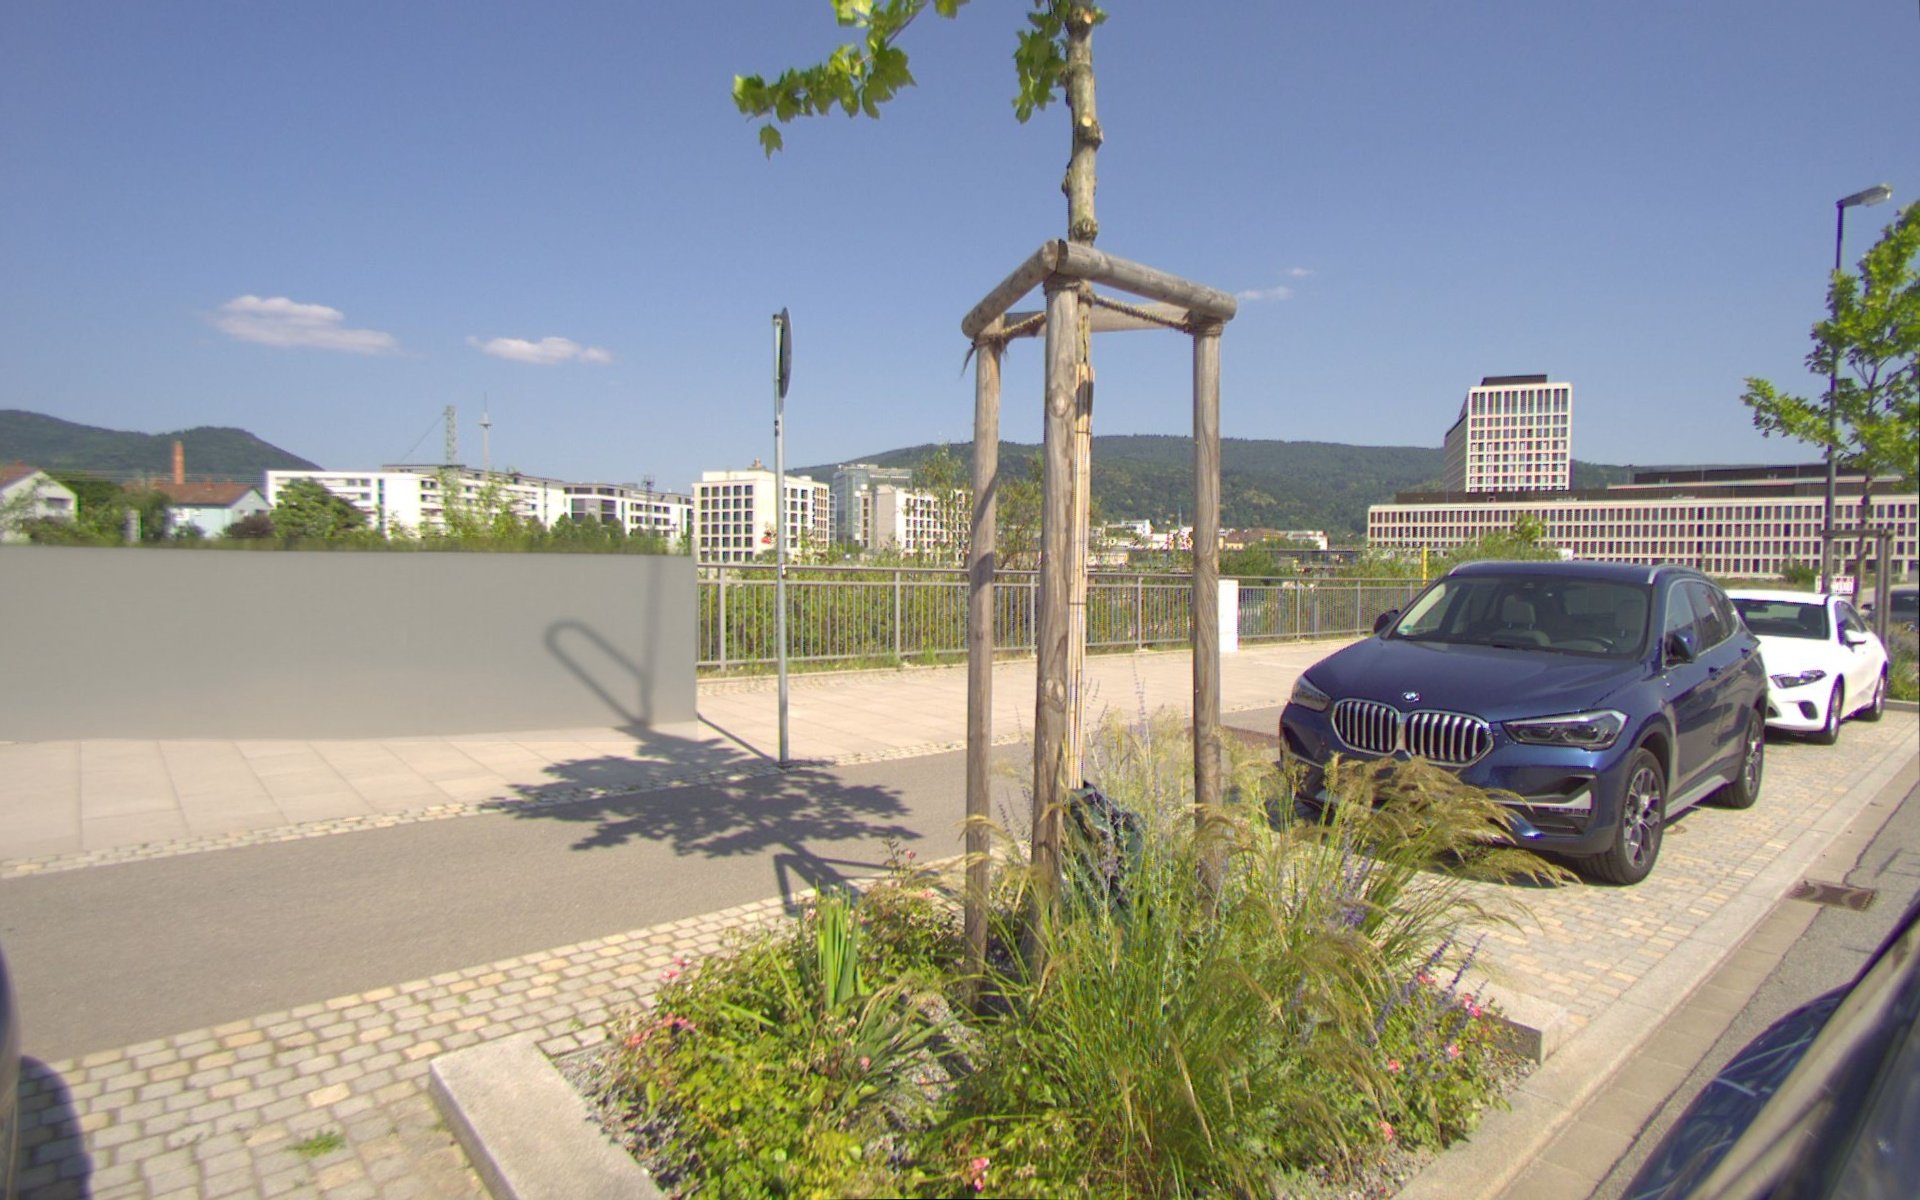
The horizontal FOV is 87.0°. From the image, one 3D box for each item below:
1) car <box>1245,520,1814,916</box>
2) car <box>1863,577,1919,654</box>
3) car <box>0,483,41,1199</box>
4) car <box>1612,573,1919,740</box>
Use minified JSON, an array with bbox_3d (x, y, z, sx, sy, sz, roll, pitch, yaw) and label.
[{"bbox_3d":[3.790,0.420,6.400,4.197,1.703,1.807,-1,4,-41],"label":"car"},{"bbox_3d":[20.242,0.305,20.938,3.849,1.449,1.808,-1,5,-41],"label":"car"},{"bbox_3d":[-2.843,0.606,0.498,3.485,1.574,1.585,0,4,-41],"label":"car"},{"bbox_3d":[8.848,0.456,10.988,4.194,1.390,1.711,-1,5,-39],"label":"car"}]
